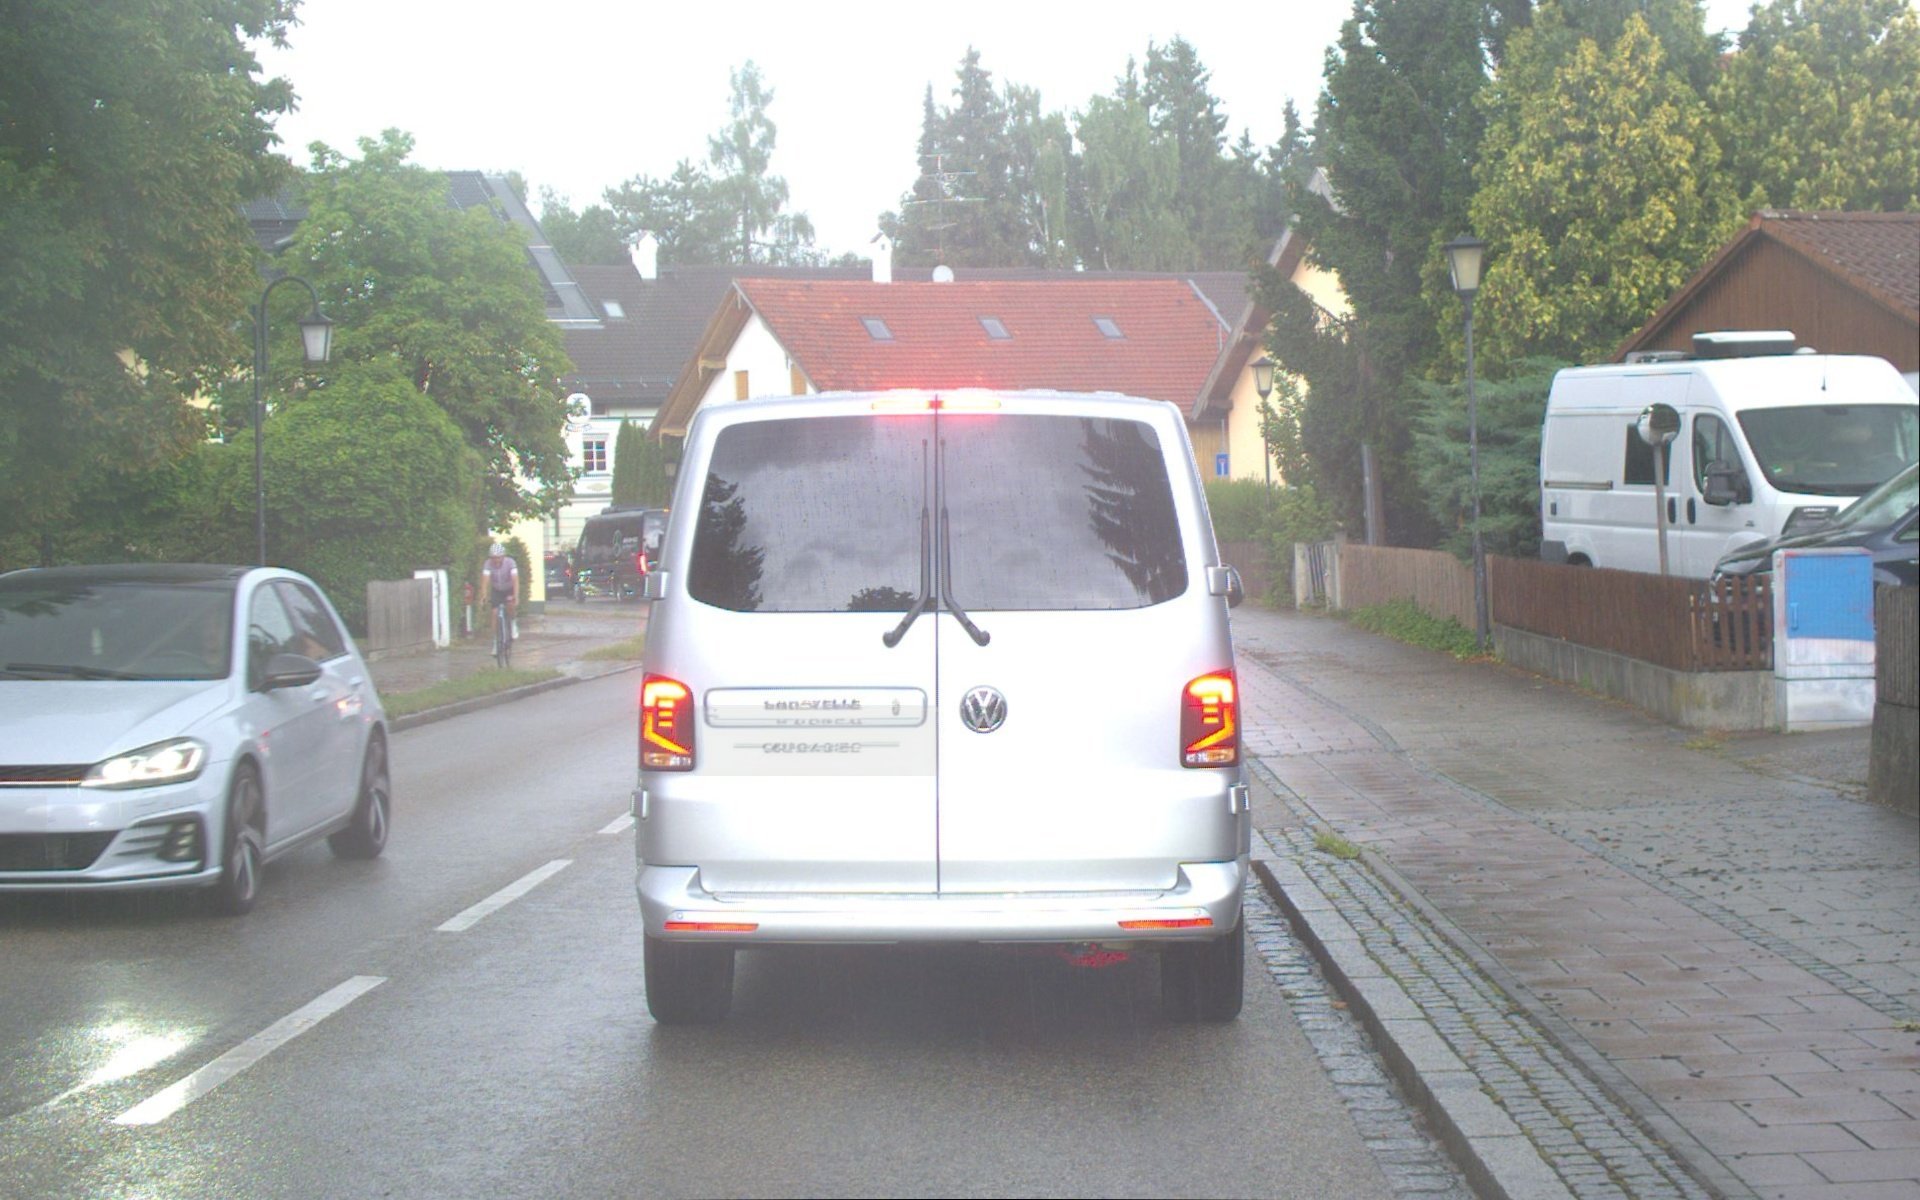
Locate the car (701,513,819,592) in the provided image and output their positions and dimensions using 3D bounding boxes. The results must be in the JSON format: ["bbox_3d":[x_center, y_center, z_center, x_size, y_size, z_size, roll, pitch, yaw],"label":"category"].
[{"bbox_3d":[-5.289,-1.244,90.535,1.993,2.007,4.001,1,0,-20],"label":"car"}]

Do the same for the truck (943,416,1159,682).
[{"bbox_3d":[1.080,-0.605,43.084,2.475,3.063,6.296,1,0,0],"label":"truck"}]

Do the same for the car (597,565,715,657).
[{"bbox_3d":[-4.915,0.170,55.968,1.618,1.439,3.671,0,0,0],"label":"car"}]

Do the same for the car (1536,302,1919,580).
[{"bbox_3d":[6.883,-1.274,29.803,1.993,2.166,4.954,1,0,-12],"label":"car"}]

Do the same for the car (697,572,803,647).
[{"bbox_3d":[-4.616,0.204,75.117,1.827,1.553,4.178,-1,0,-10],"label":"car"}]

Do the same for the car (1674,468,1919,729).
[{"bbox_3d":[7.393,-0.070,24.749,4.093,1.745,1.695,-1,3,-2],"label":"car"}]

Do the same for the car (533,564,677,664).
[{"bbox_3d":[-5.262,0.191,51.372,1.618,1.439,3.670,0,0,3],"label":"car"}]

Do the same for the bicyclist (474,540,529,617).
[{"bbox_3d":[-6.192,-0.294,46.488,0.587,1.018,1.060,0,1,0],"label":"bicyclist"}]

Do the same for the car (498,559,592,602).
[{"bbox_3d":[-13.207,-0.621,109.273,1.780,1.306,3.776,1,0,-27],"label":"car"}]

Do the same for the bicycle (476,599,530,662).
[{"bbox_3d":[-6.173,0.406,46.480,0.456,0.796,1.977,0,1,0],"label":"bicycle"}]

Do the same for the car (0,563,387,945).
[{"bbox_3d":[-3.738,0.567,15.030,1.716,1.437,4.000,1,0,1],"label":"car"}]

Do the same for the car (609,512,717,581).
[{"bbox_3d":[-8.552,-1.515,98.753,1.993,1.920,4.001,1,0,-22],"label":"car"}]

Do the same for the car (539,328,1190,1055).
[{"bbox_3d":[-0.159,0.243,11.608,1.801,2.007,4.000,1,0,3],"label":"car"}]
